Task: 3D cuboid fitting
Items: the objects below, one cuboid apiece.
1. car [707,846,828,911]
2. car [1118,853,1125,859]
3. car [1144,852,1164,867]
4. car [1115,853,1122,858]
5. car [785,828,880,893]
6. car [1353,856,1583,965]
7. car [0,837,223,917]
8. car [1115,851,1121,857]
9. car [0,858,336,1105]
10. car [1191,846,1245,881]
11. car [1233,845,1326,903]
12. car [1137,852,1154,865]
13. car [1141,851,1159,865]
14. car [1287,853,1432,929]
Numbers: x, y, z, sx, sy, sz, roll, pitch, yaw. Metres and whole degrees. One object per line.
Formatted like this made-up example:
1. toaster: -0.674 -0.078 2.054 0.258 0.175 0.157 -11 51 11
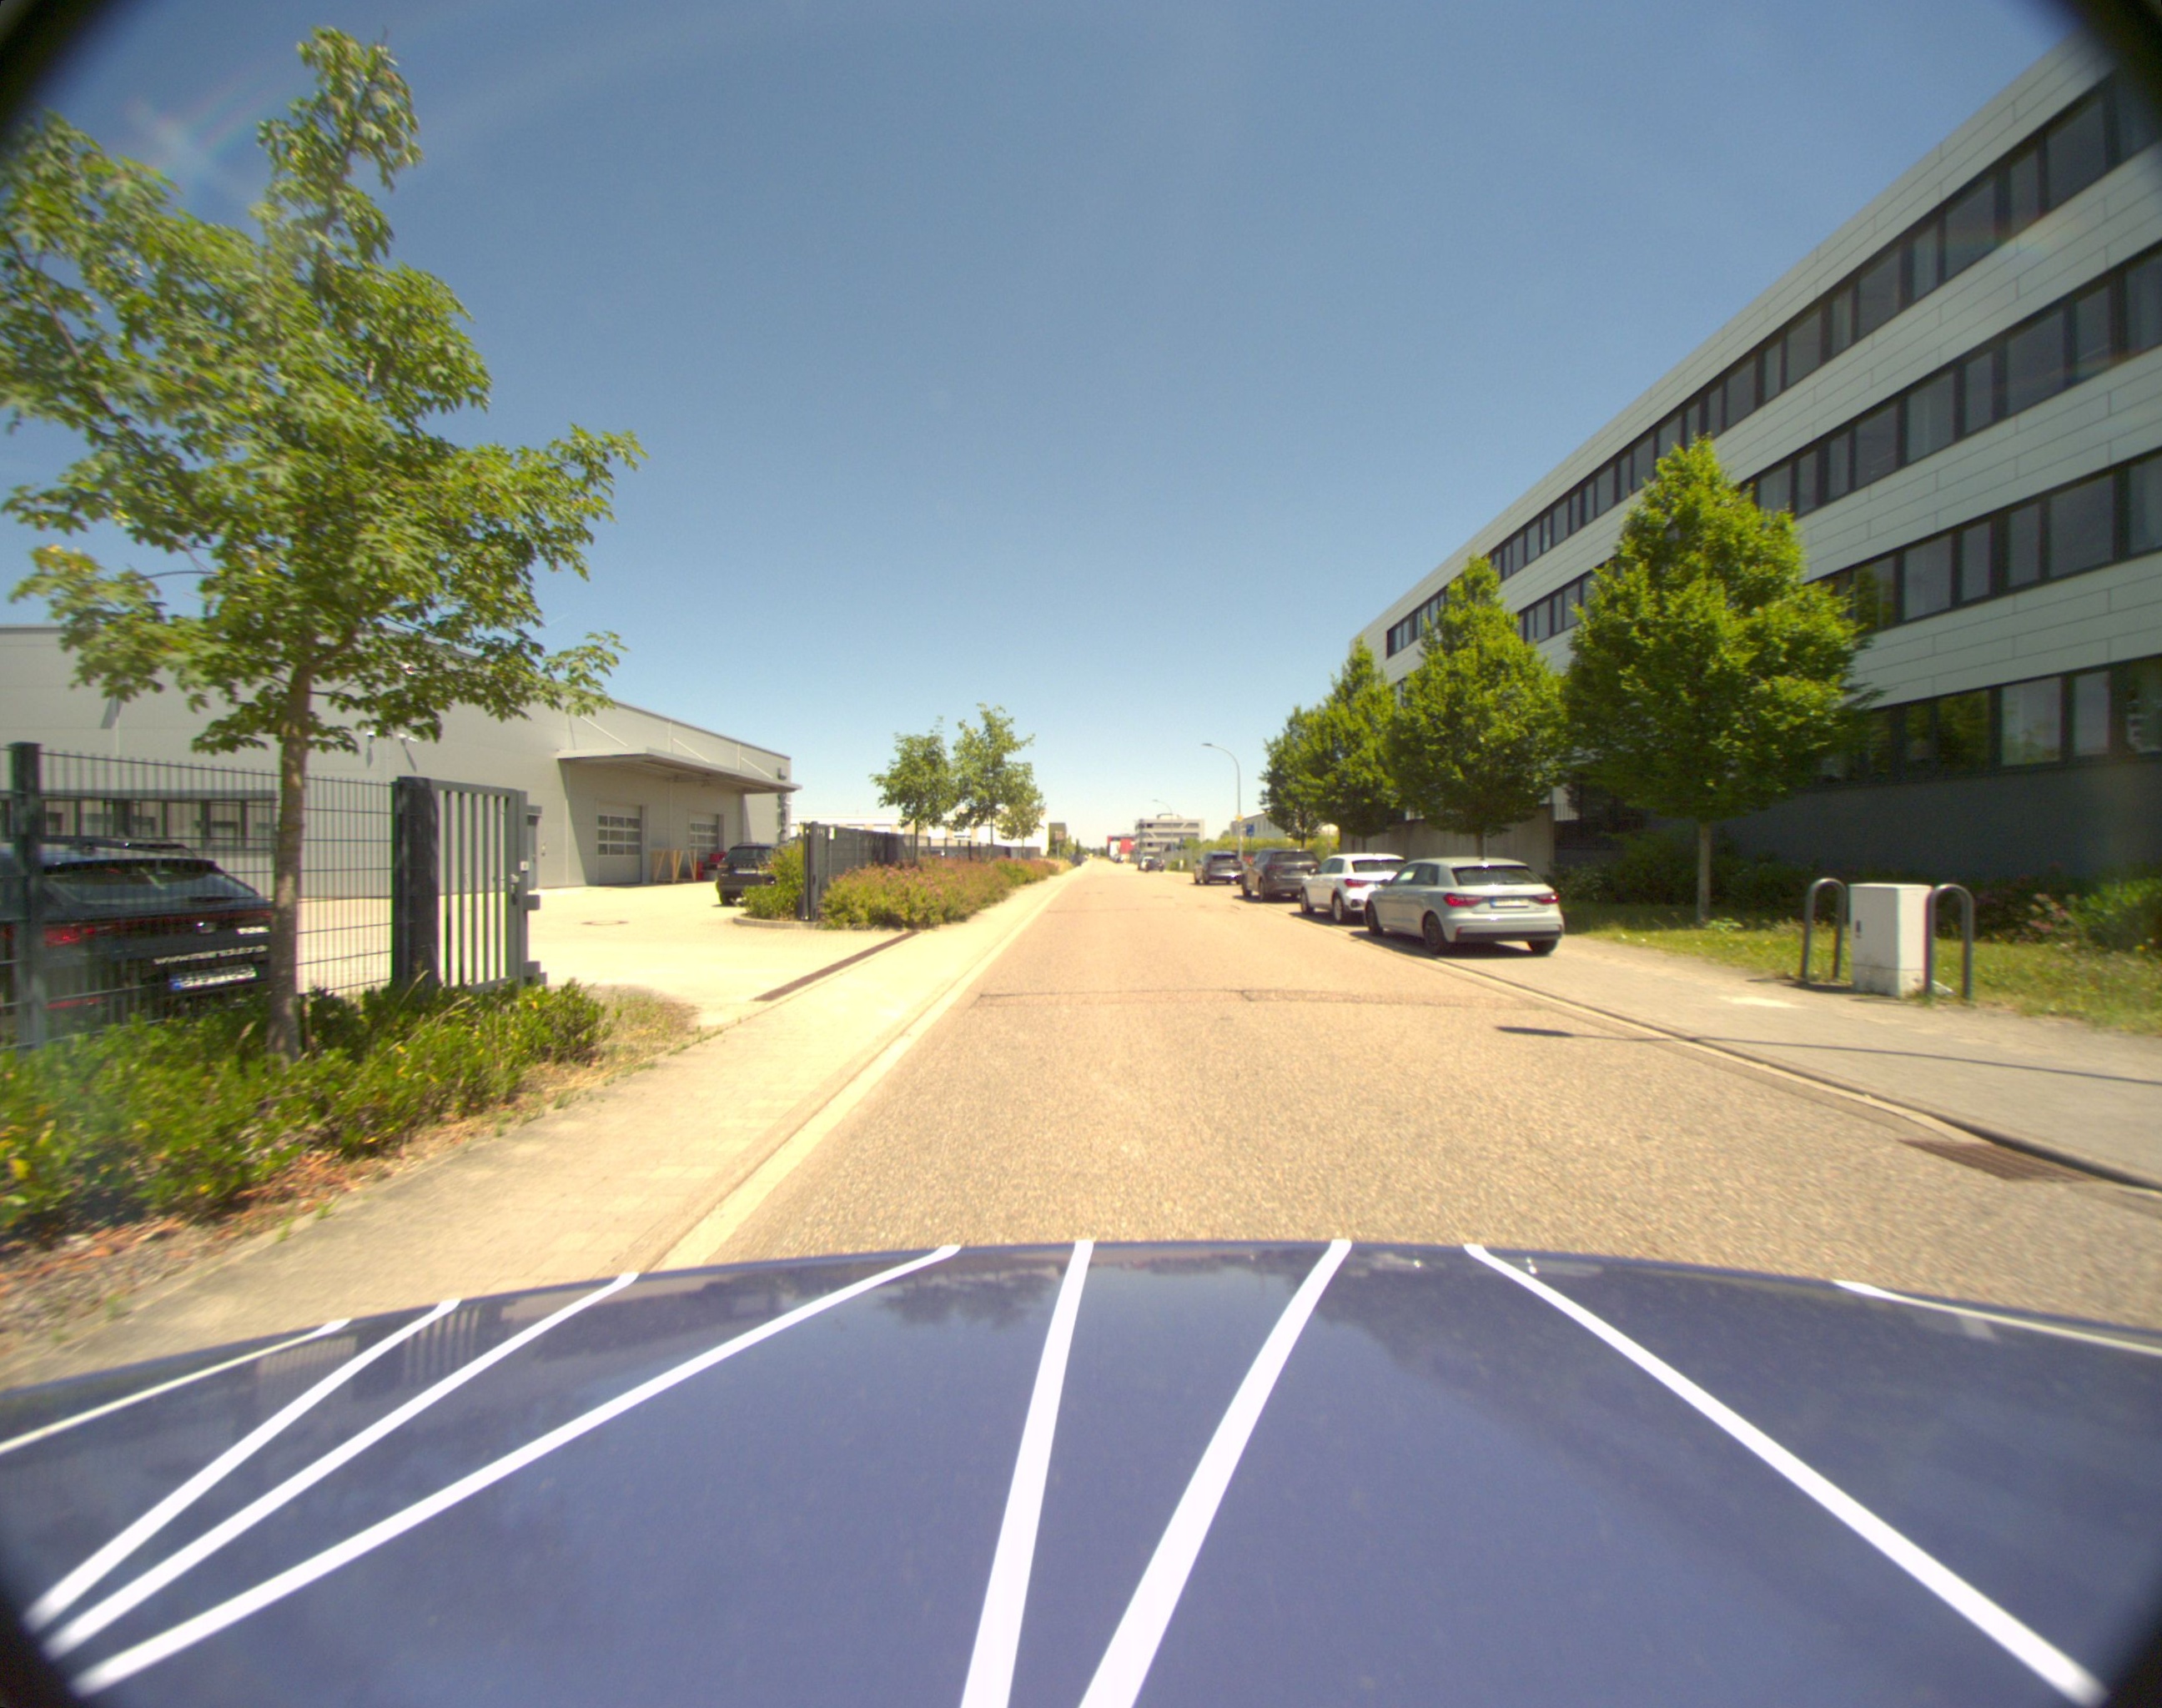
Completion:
1. car: -8.206 0.572 20.273 1.546 1.547 3.879 1 1 1
2. car: 9.913 0.464 187.330 1.694 1.481 3.660 -2 1 2
3. car: 7.357 0.503 76.411 1.678 1.442 4.069 0 1 1
4. car: 10.942 0.489 222.923 1.772 1.521 3.778 -2 1 2
5. car: -8.660 0.197 26.862 1.881 2.074 4.225 1 0 1
6. car: 5.967 0.773 12.293 1.775 1.422 3.940 -1 1 1
7. car: -20.170 0.418 15.163 3.997 1.477 1.850 1 1 0
8. car: 10.627 -0.107 218.564 1.659 1.572 3.778 -2 1 2
9. car: -8.308 0.757 5.436 4.226 1.414 1.764 1 1 0
10. car: 6.605 0.469 37.083 1.775 1.578 4.481 -1 0 -1
11. car: 6.197 0.565 24.248 1.775 1.614 4.582 -2 0 1
12. car: 7.798 0.565 92.158 1.678 1.521 3.909 -1 1 1
13. car: 7.785 0.417 85.810 1.678 1.521 3.757 0 1 1
14. car: 6.119 0.731 17.226 1.775 1.422 4.201 -2 0 1
